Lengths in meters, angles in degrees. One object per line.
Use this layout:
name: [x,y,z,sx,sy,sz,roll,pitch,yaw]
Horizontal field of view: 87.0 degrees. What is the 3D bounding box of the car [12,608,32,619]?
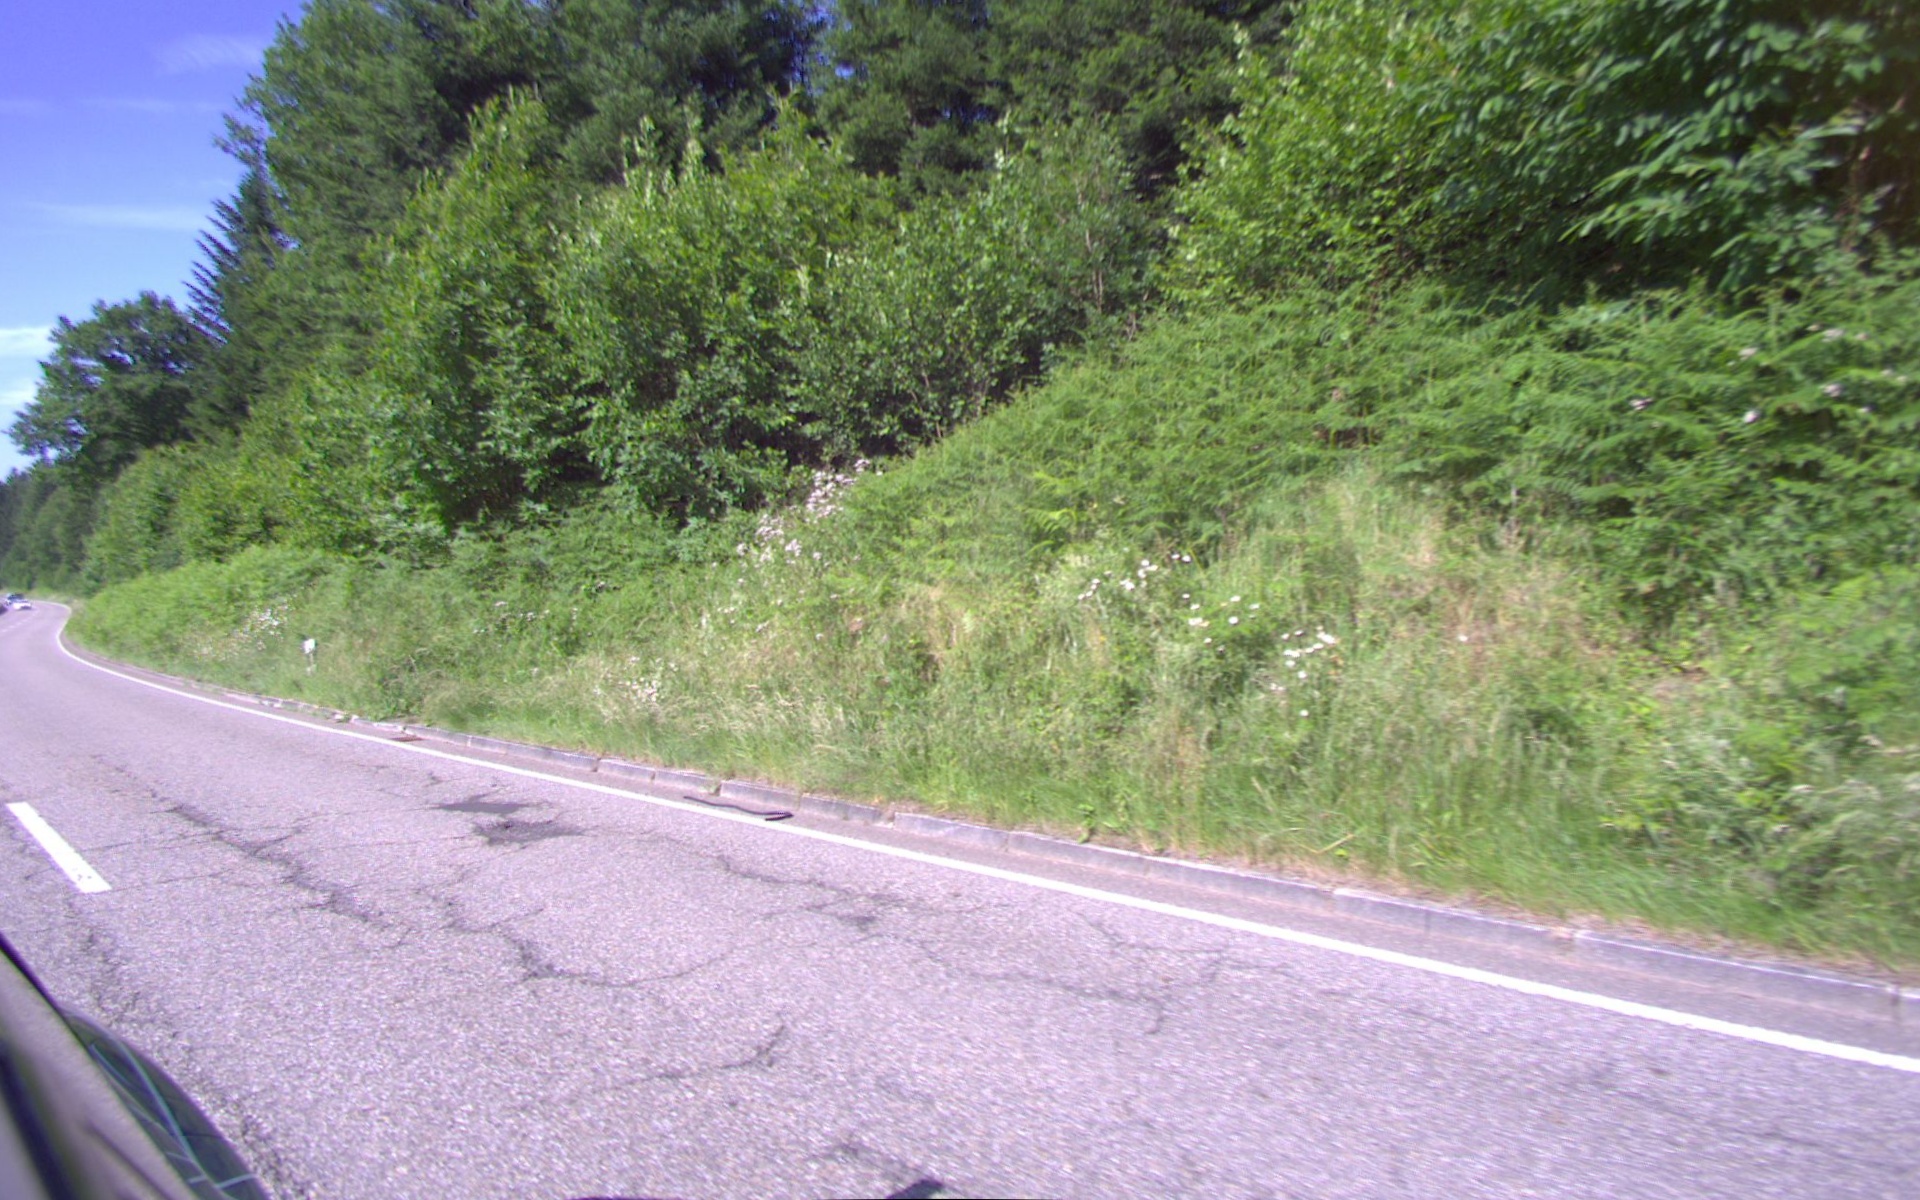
car: [-137.085,1.993,147.905,3.787,1.563,1.681,0,2,41]
